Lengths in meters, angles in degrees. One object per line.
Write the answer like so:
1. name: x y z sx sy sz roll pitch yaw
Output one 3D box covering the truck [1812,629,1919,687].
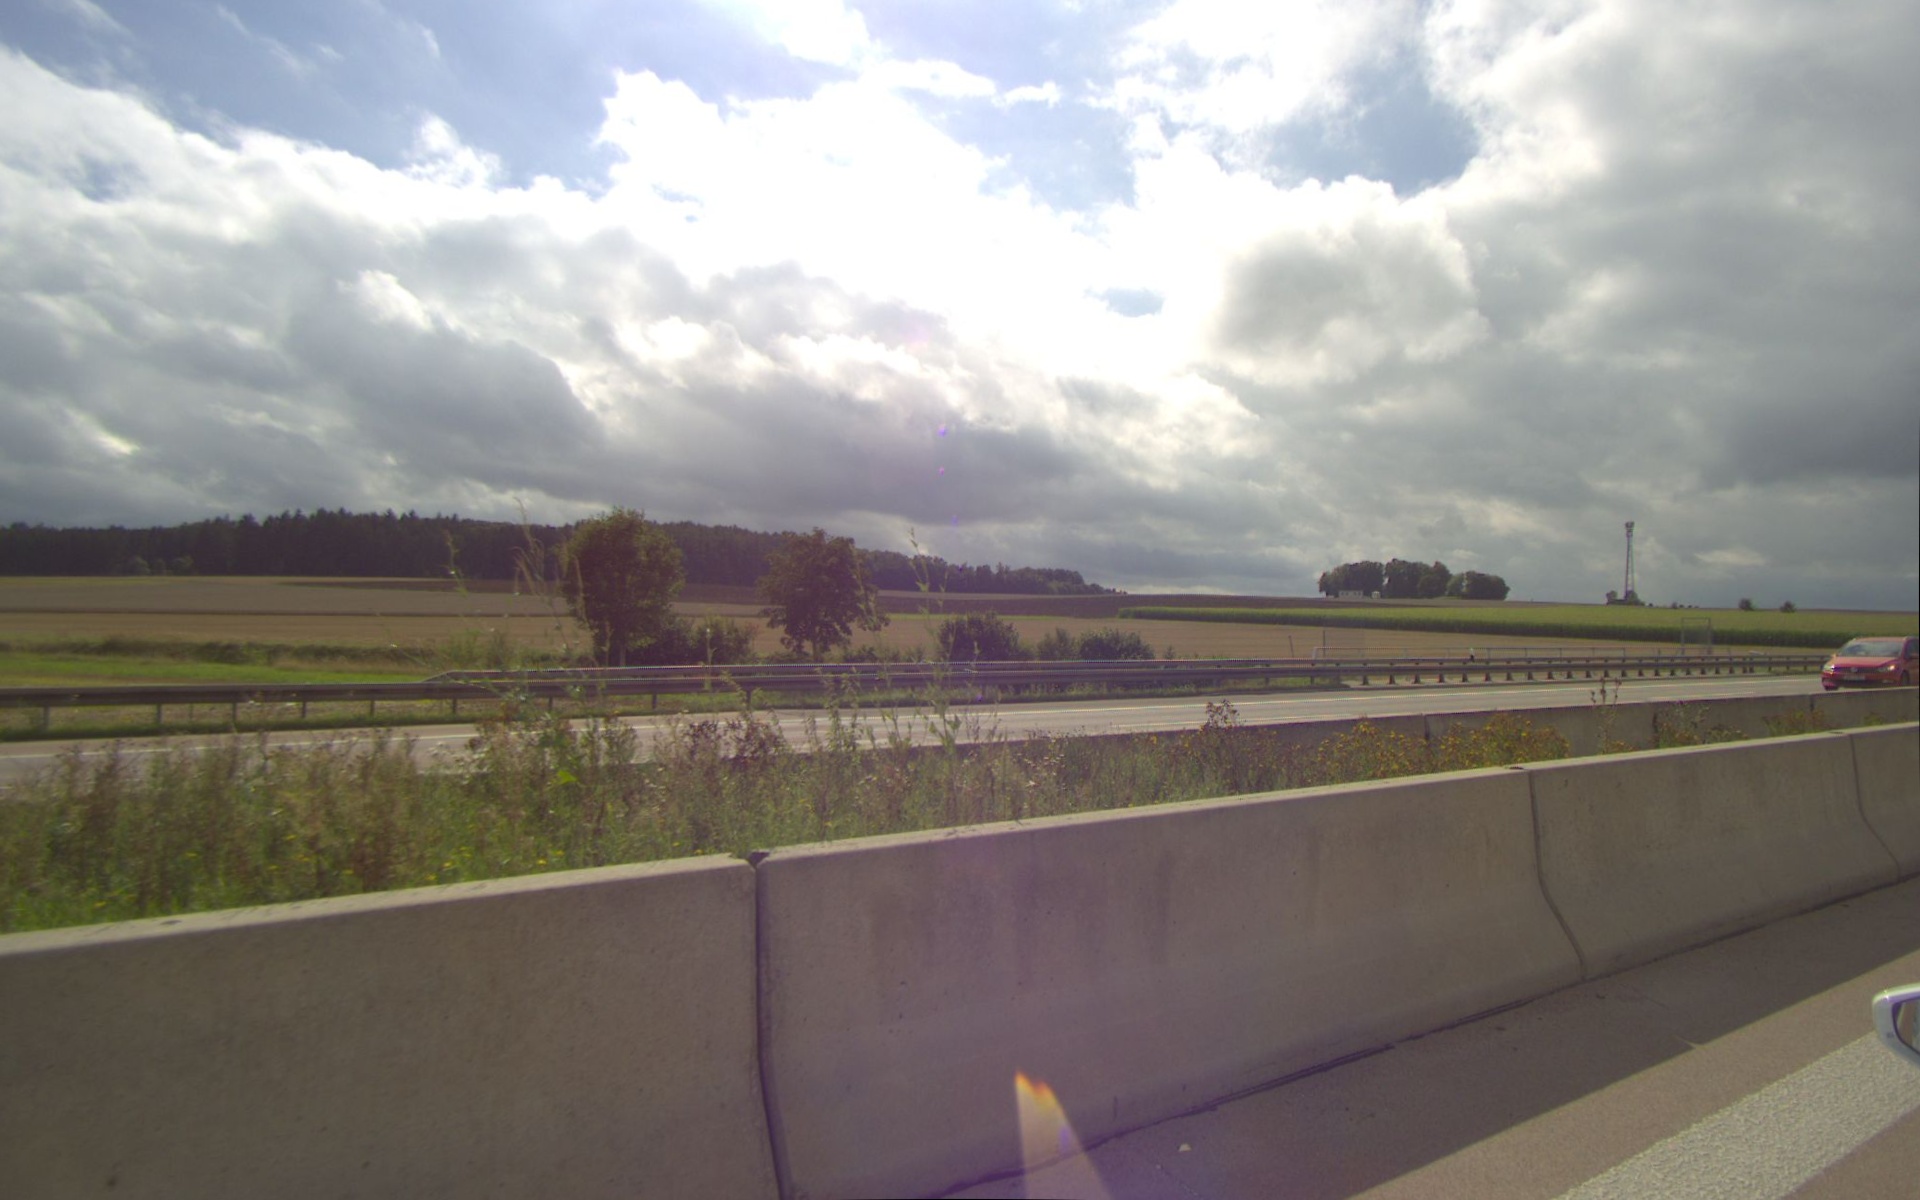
1. truck: 27.286 1.666 29.699 4.925 1.594 1.699 1 -3 -31
